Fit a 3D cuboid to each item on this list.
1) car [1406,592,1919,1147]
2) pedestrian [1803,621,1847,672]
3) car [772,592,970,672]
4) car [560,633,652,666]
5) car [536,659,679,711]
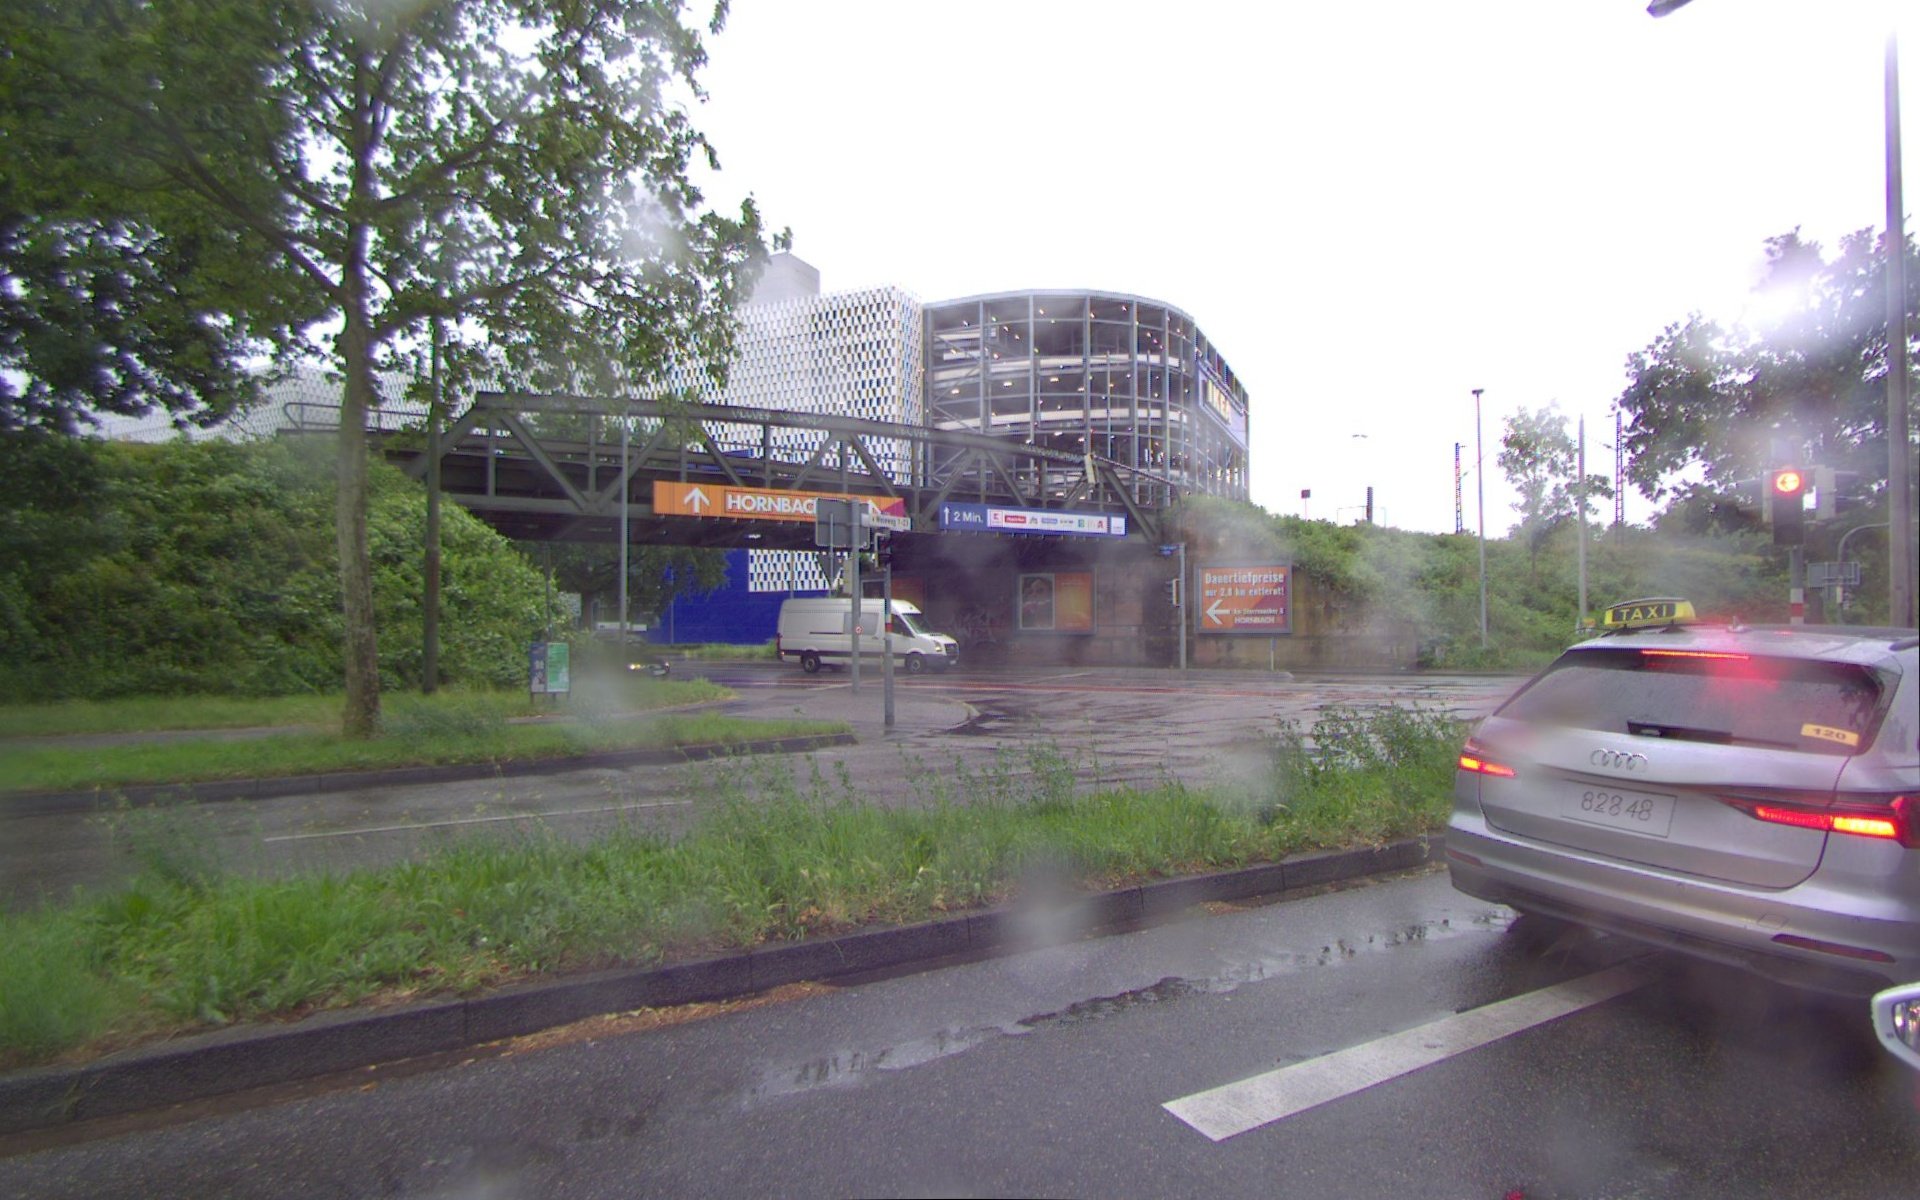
[{"bbox_3d":[4.417,0.808,4.819,4.766,1.595,1.760,1,0,-31],"label":"car"},{"bbox_3d":[32.381,1.728,37.599,1.122,1.871,1.092,2,-2,-41],"label":"pedestrian"},{"bbox_3d":[-3.222,1.155,36.131,6.847,2.645,2.386,-1,-2,25],"label":"car"},{"bbox_3d":[-17.283,2.393,49.062,4.166,1.580,1.746,-1,-2,24],"label":"car"},{"bbox_3d":[-10.865,2.582,30.961,4.067,1.453,1.693,-1,-1,23],"label":"car"}]
